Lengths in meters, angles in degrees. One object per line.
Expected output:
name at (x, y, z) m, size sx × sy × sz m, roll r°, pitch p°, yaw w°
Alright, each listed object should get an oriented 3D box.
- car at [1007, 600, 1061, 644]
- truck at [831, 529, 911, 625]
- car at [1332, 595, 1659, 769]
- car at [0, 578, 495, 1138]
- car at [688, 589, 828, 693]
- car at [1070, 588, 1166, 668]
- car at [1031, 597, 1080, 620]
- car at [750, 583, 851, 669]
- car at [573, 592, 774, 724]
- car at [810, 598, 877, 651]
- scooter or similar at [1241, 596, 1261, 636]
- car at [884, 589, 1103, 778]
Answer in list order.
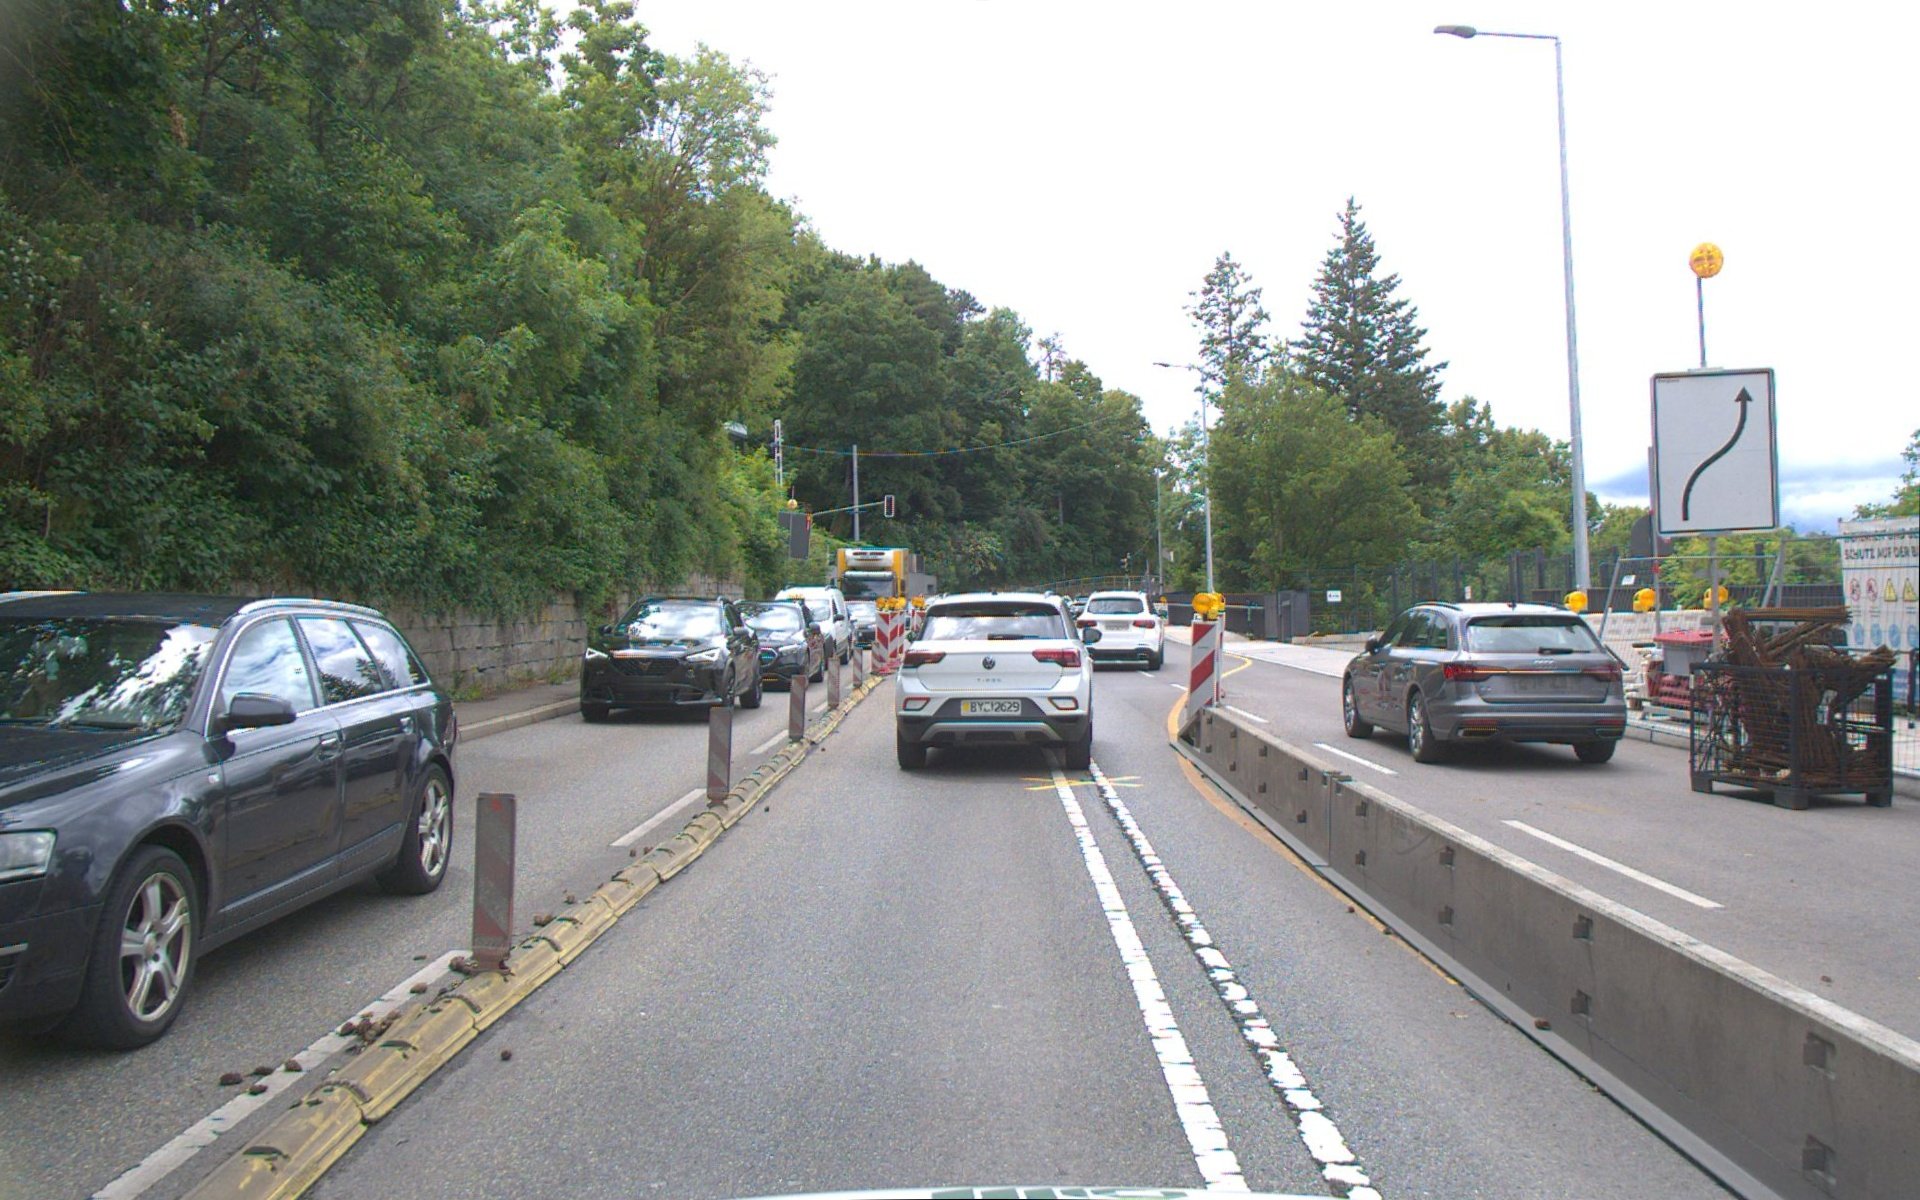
car at (2.769, 0.805, 62.656) m, size 1.867 × 1.601 × 4.000 m, roll 1°, pitch 0°, yaw 0°
truck at (-3.446, -0.840, 65.914) m, size 2.675 × 3.571 × 7.350 m, roll -1°, pitch 0°, yaw 1°
car at (5.094, 0.695, 16.434) m, size 1.802 × 1.480 × 4.628 m, roll 0°, pitch 0°, yaw 1°
car at (-3.405, 0.670, 6.640) m, size 1.754 × 1.490 × 4.509 m, roll 1°, pitch 0°, yaw 0°
car at (-3.390, 0.655, 28.568) m, size 1.793 × 1.620 × 4.654 m, roll 1°, pitch 0°, yaw 0°
car at (3.483, 0.587, 35.877) m, size 1.951 × 1.614 × 4.003 m, roll 1°, pitch 0°, yaw 7°
car at (6.644, 0.606, 115.279) m, size 1.870 × 1.601 × 3.993 m, roll 1°, pitch 0°, yaw 29°
car at (-3.566, 0.561, 37.616) m, size 1.765 × 1.822 × 4.342 m, roll 1°, pitch 0°, yaw 1°
car at (-3.605, 0.692, 21.580) m, size 1.791 × 1.511 × 4.318 m, roll 1°, pitch 0°, yaw 1°
car at (-3.523, 0.741, 50.702) m, size 1.755 × 1.534 × 4.311 m, roll 1°, pitch 0°, yaw -1°
scooter or similar at (9.442, 0.524, 53.741) m, size 0.523 × 1.248 × 1.207 m, roll -2°, pitch 1°, yaw 7°
car at (0.437, 0.701, 15.829) m, size 1.827 × 1.563 × 3.806 m, roll 1°, pitch 0°, yaw 5°
